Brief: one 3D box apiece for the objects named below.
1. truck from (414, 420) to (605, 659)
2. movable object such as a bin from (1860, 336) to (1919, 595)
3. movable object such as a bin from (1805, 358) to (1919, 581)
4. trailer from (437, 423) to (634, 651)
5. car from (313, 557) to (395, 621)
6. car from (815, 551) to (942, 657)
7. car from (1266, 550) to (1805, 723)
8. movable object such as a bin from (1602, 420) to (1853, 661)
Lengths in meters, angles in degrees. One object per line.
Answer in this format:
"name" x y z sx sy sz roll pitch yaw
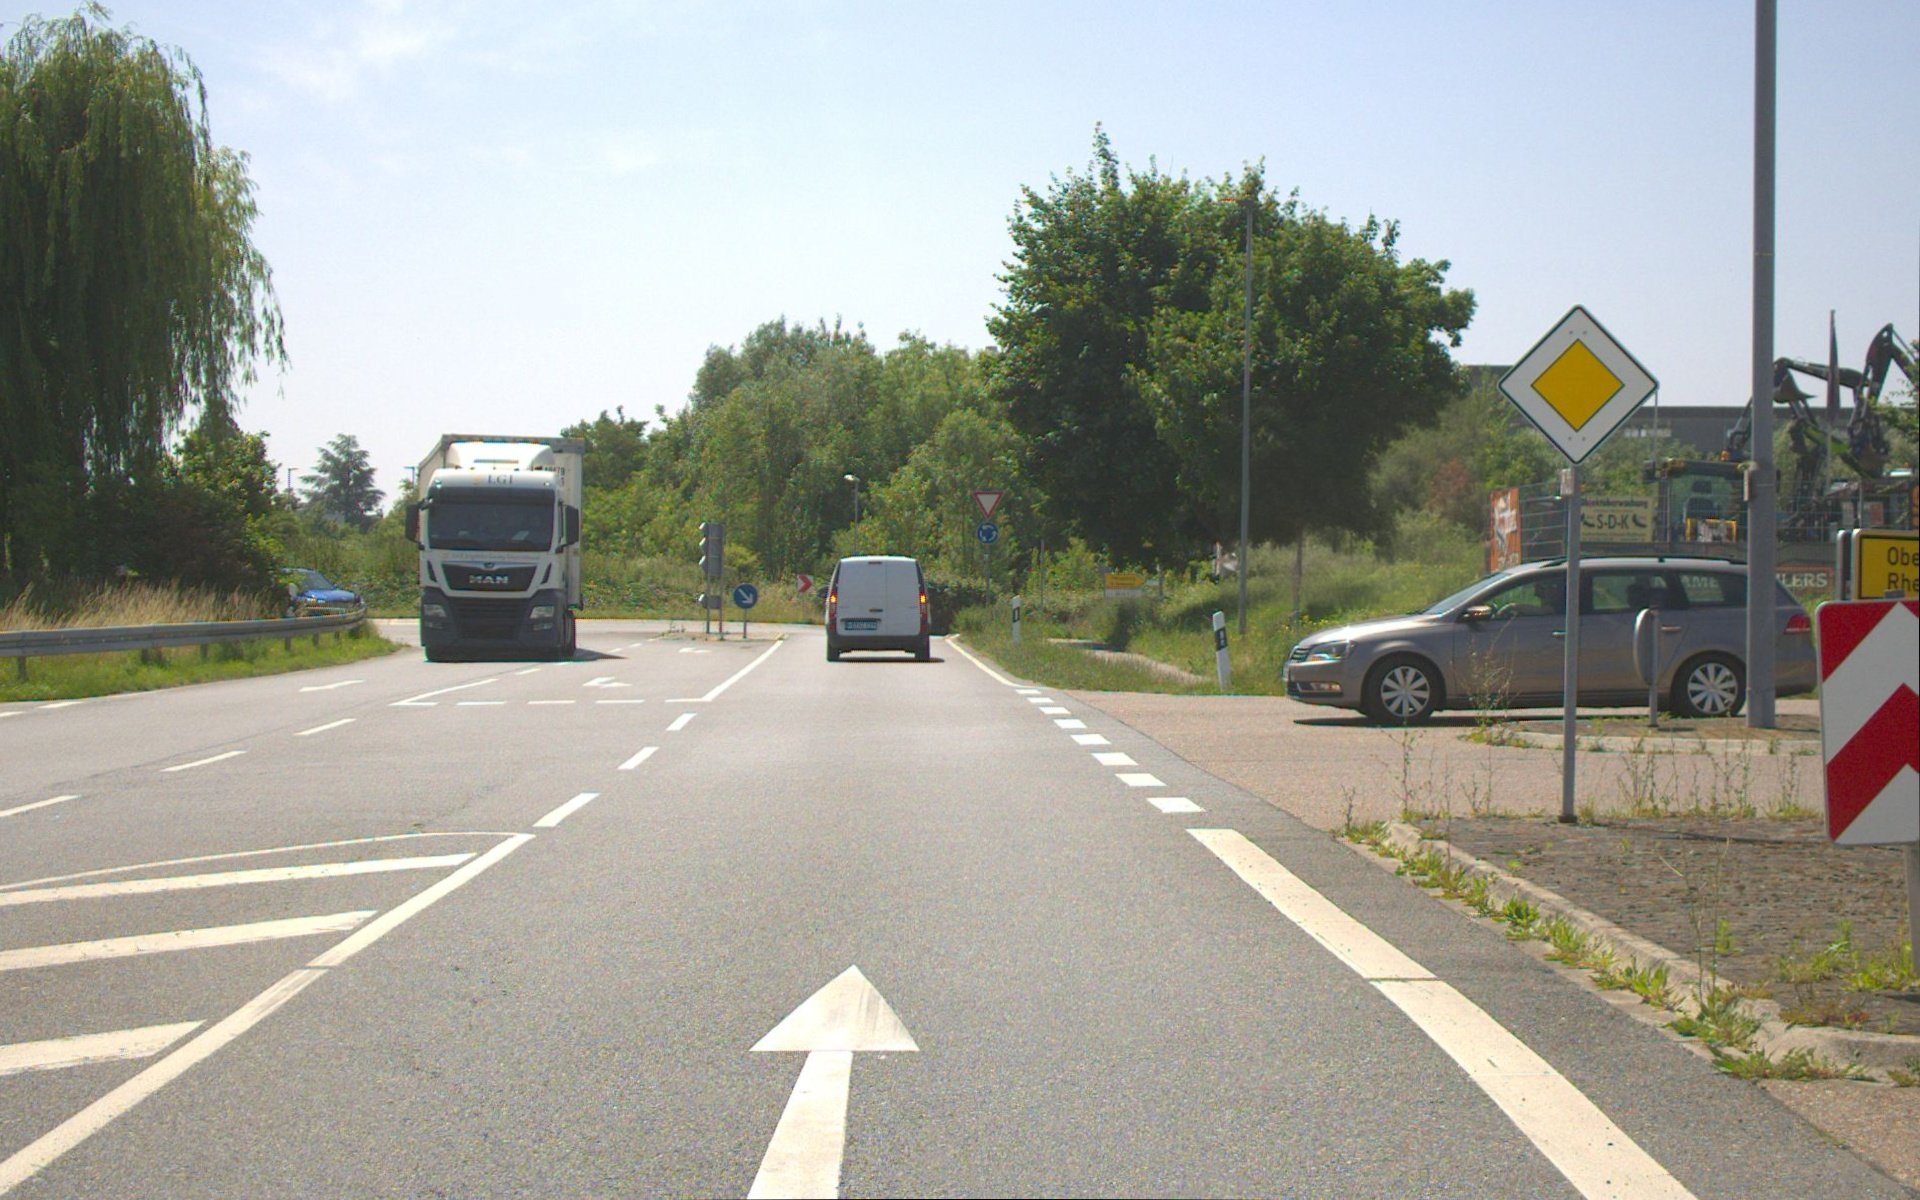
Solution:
"truck" -8.177 -1.104 63.138 2.789 4.042 6.754 2 1 -3
"movable object such as a bin" 22.395 -2.699 72.846 5.717 5.251 3.221 2 -1 2
"movable object such as a bin" 23.055 -3.026 81.873 5.085 5.038 2.777 2 -1 2
"trailer" -8.360 -1.264 69.292 2.789 4.042 13.504 2 1 -3
"car" -15.407 -0.287 87.328 1.846 1.562 4.001 -1 1 -13
"car" -1.426 0.065 58.959 1.903 1.726 3.823 1 0 -5
"car" 5.090 0.306 30.859 4.511 1.503 1.914 0 1 0
"movable object such as a bin" 11.152 -0.784 50.376 2.323 3.239 5.101 2 -1 -1
